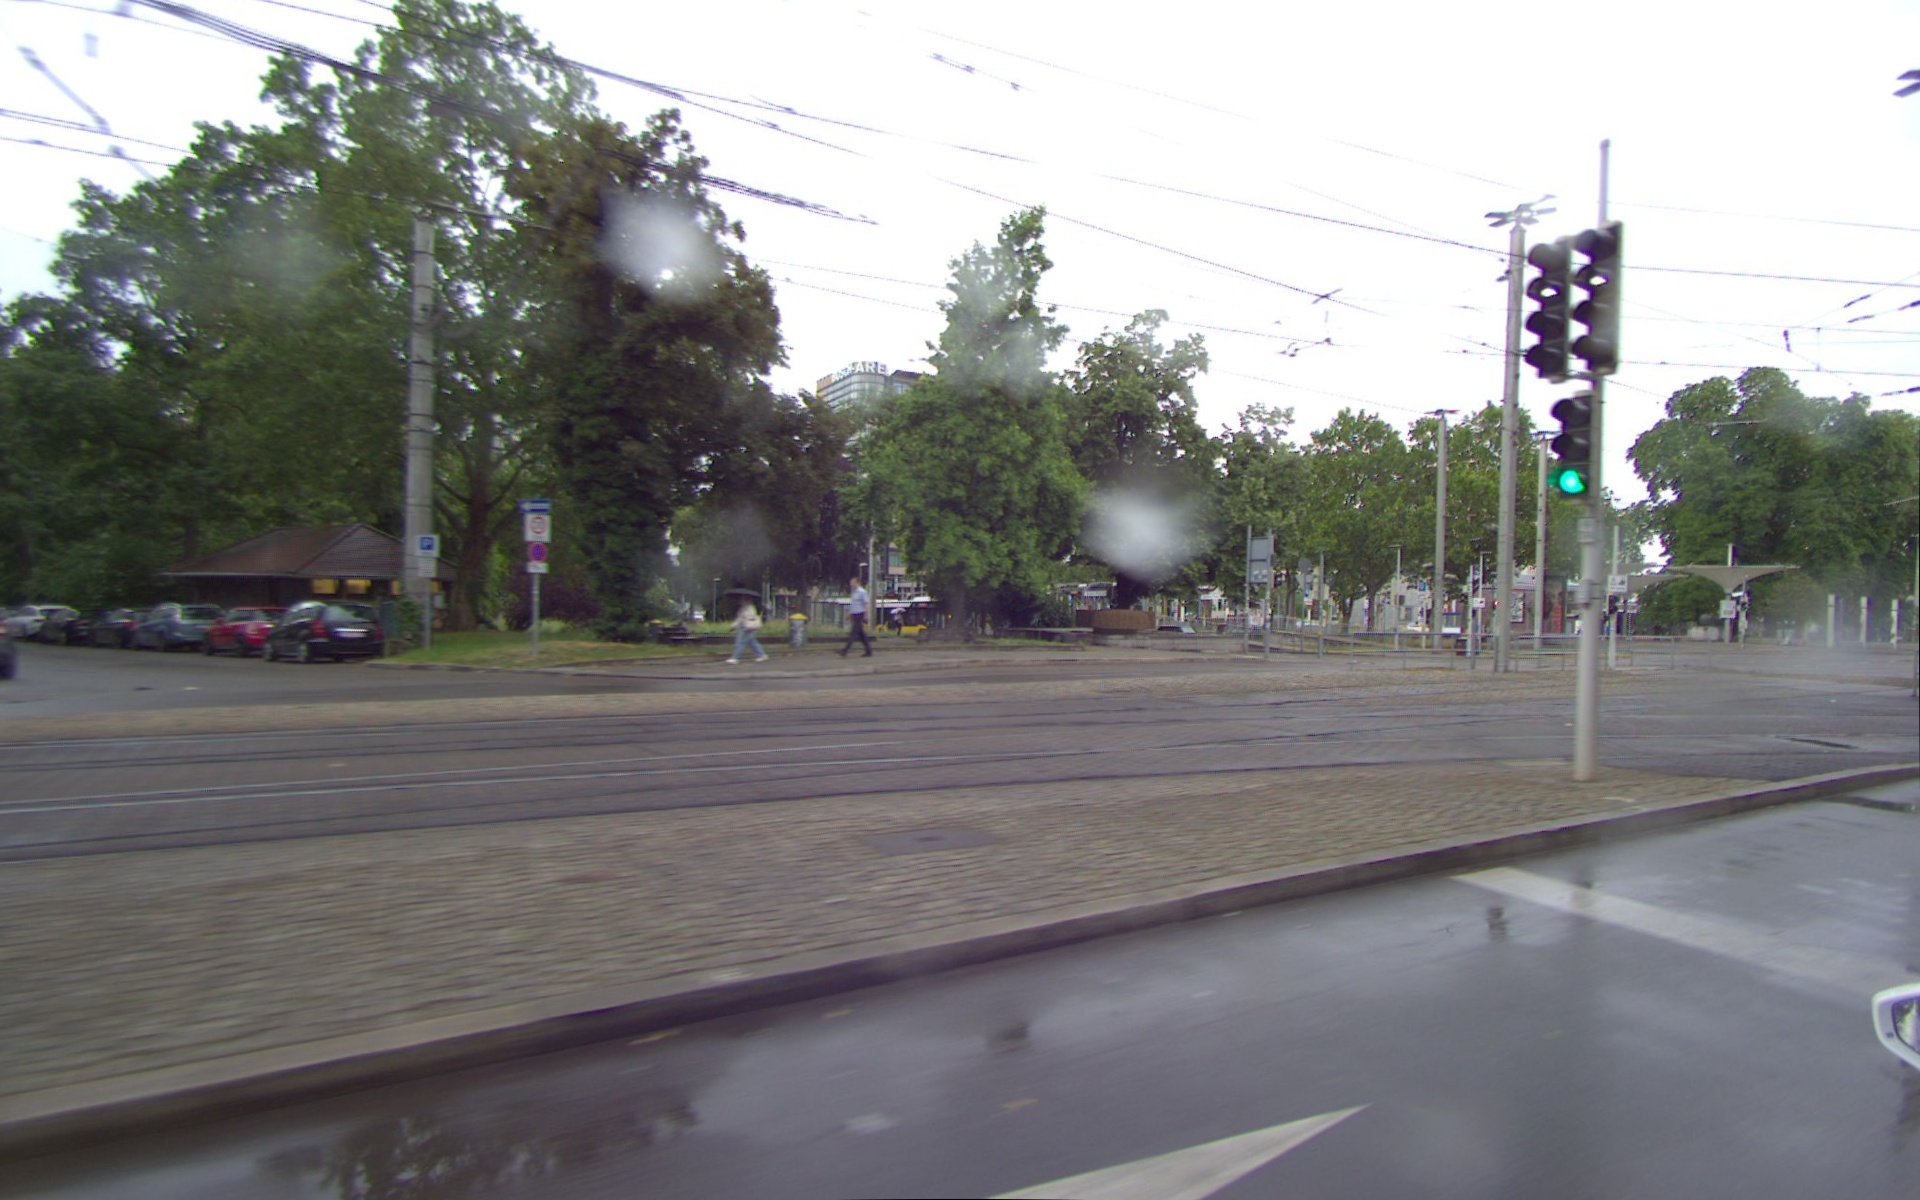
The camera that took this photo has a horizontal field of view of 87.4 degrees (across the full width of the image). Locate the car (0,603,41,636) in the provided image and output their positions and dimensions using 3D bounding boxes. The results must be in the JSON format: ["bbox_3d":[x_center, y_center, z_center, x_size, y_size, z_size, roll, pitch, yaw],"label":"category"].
[{"bbox_3d":[-43.651,0.863,45.909,3.481,1.467,1.697,0,-1,35],"label":"car"}]

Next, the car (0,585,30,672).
[{"bbox_3d":[-18.993,0.518,18.754,3.681,1.571,1.697,0,-1,36],"label":"car"}]

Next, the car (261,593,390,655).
[{"bbox_3d":[-16.114,0.583,25.465,3.485,1.467,1.696,0,-1,38],"label":"car"}]

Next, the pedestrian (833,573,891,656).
[{"bbox_3d":[-2.316,0.337,23.631,0.993,1.888,0.904,1,2,-34],"label":"pedestrian"}]

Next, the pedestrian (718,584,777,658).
[{"bbox_3d":[-4.802,0.464,22.675,0.993,1.615,0.904,1,2,-34],"label":"pedestrian"}]

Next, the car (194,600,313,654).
[{"bbox_3d":[-20.425,0.768,29.015,3.481,1.467,1.697,0,-1,35],"label":"car"}]

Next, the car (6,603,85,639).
[{"bbox_3d":[-38.013,0.858,41.742,3.481,1.467,1.697,0,-1,35],"label":"car"}]

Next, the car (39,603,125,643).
[{"bbox_3d":[-33.745,0.857,38.587,3.481,1.467,1.697,0,-1,35],"label":"car"}]

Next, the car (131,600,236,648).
[{"bbox_3d":[-25.045,0.763,32.374,3.481,1.467,1.697,0,-1,35],"label":"car"}]
